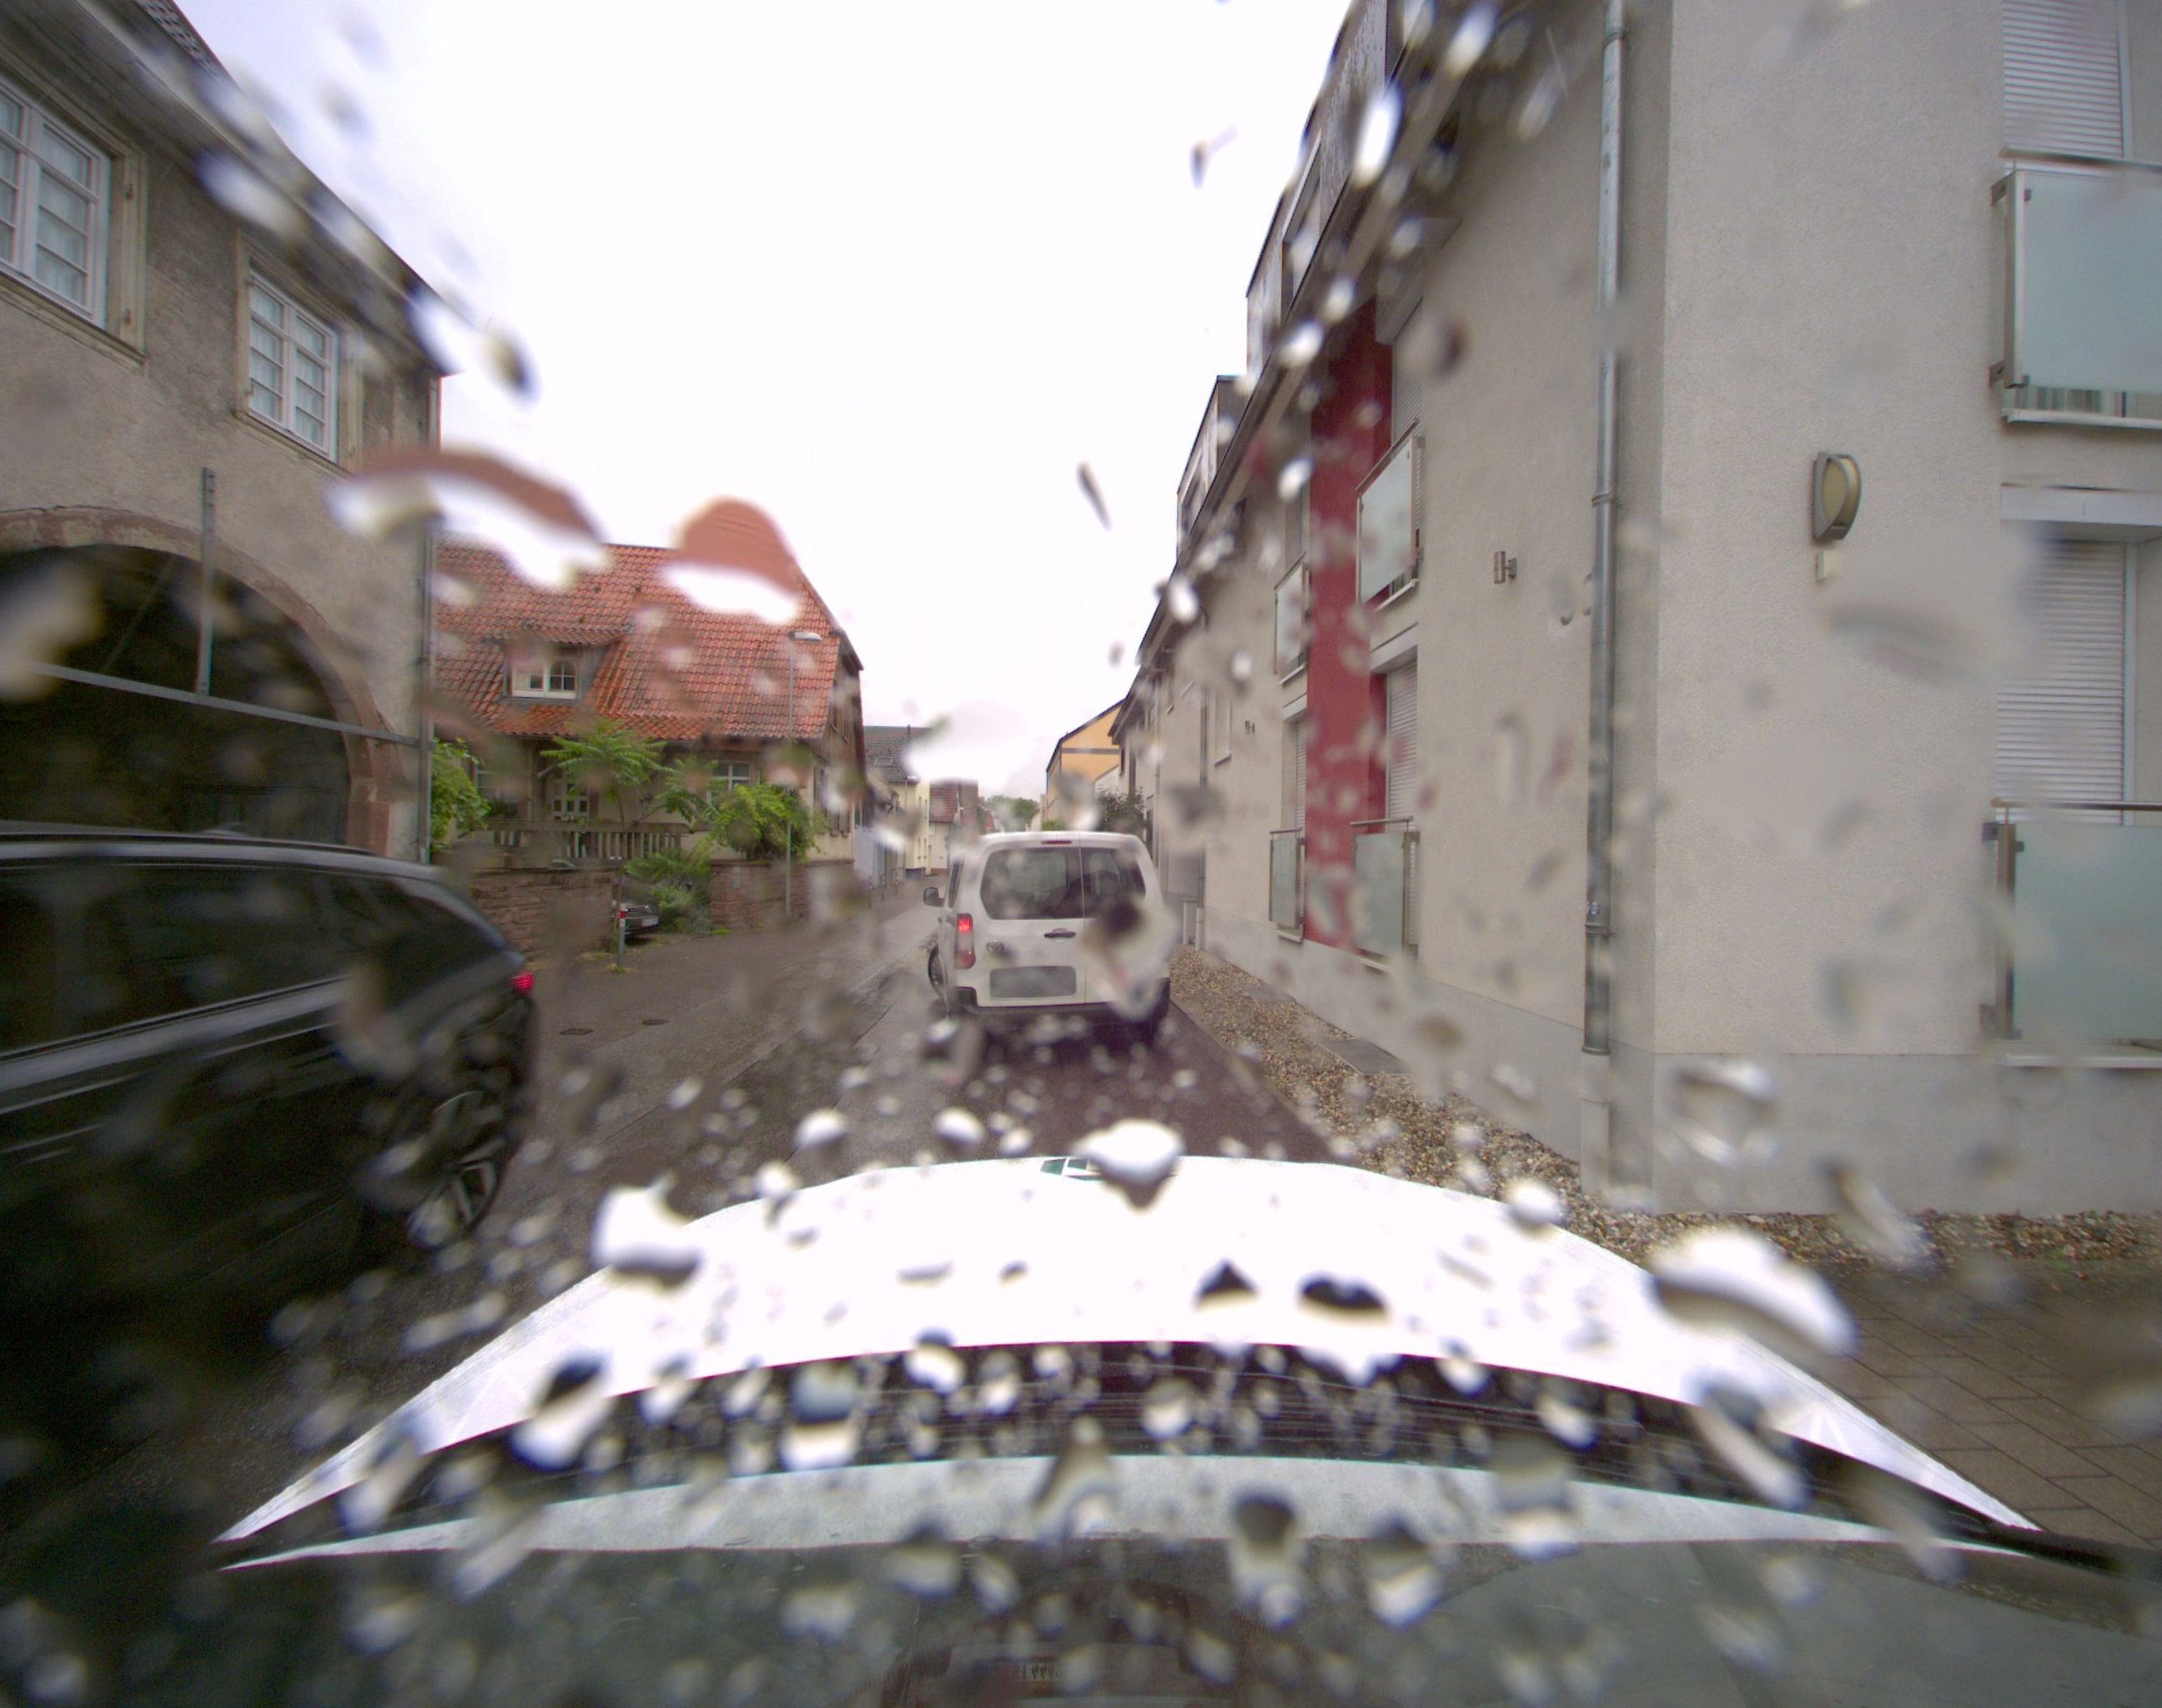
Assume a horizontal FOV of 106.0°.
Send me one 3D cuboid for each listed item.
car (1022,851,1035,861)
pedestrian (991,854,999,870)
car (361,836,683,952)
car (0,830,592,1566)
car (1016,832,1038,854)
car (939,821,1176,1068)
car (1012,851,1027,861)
[{"bbox_3d":[-7.942,0.336,122.555,1.778,1.395,3.990,0,-1,-7],"label":"car"},{"bbox_3d":[-10.737,1.002,101.816,1.049,1.893,0.875,0,-1,-7],"label":"pedestrian"},{"bbox_3d":[-9.063,0.630,13.443,3.973,1.425,1.736,5,-1,1],"label":"car"},{"bbox_3d":[-3.191,0.712,1.806,1.829,1.556,4.233,1,-1,-4],"label":"car"},{"bbox_3d":[-5.082,-1.015,76.718,1.989,2.014,3.995,0,-1,-3],"label":"car"},{"bbox_3d":[-0.487,0.667,8.013,1.775,1.780,3.986,0,-1,-10],"label":"car"},{"bbox_3d":[-10.711,0.380,142.228,1.984,1.559,3.437,-2,2,5],"label":"car"}]
